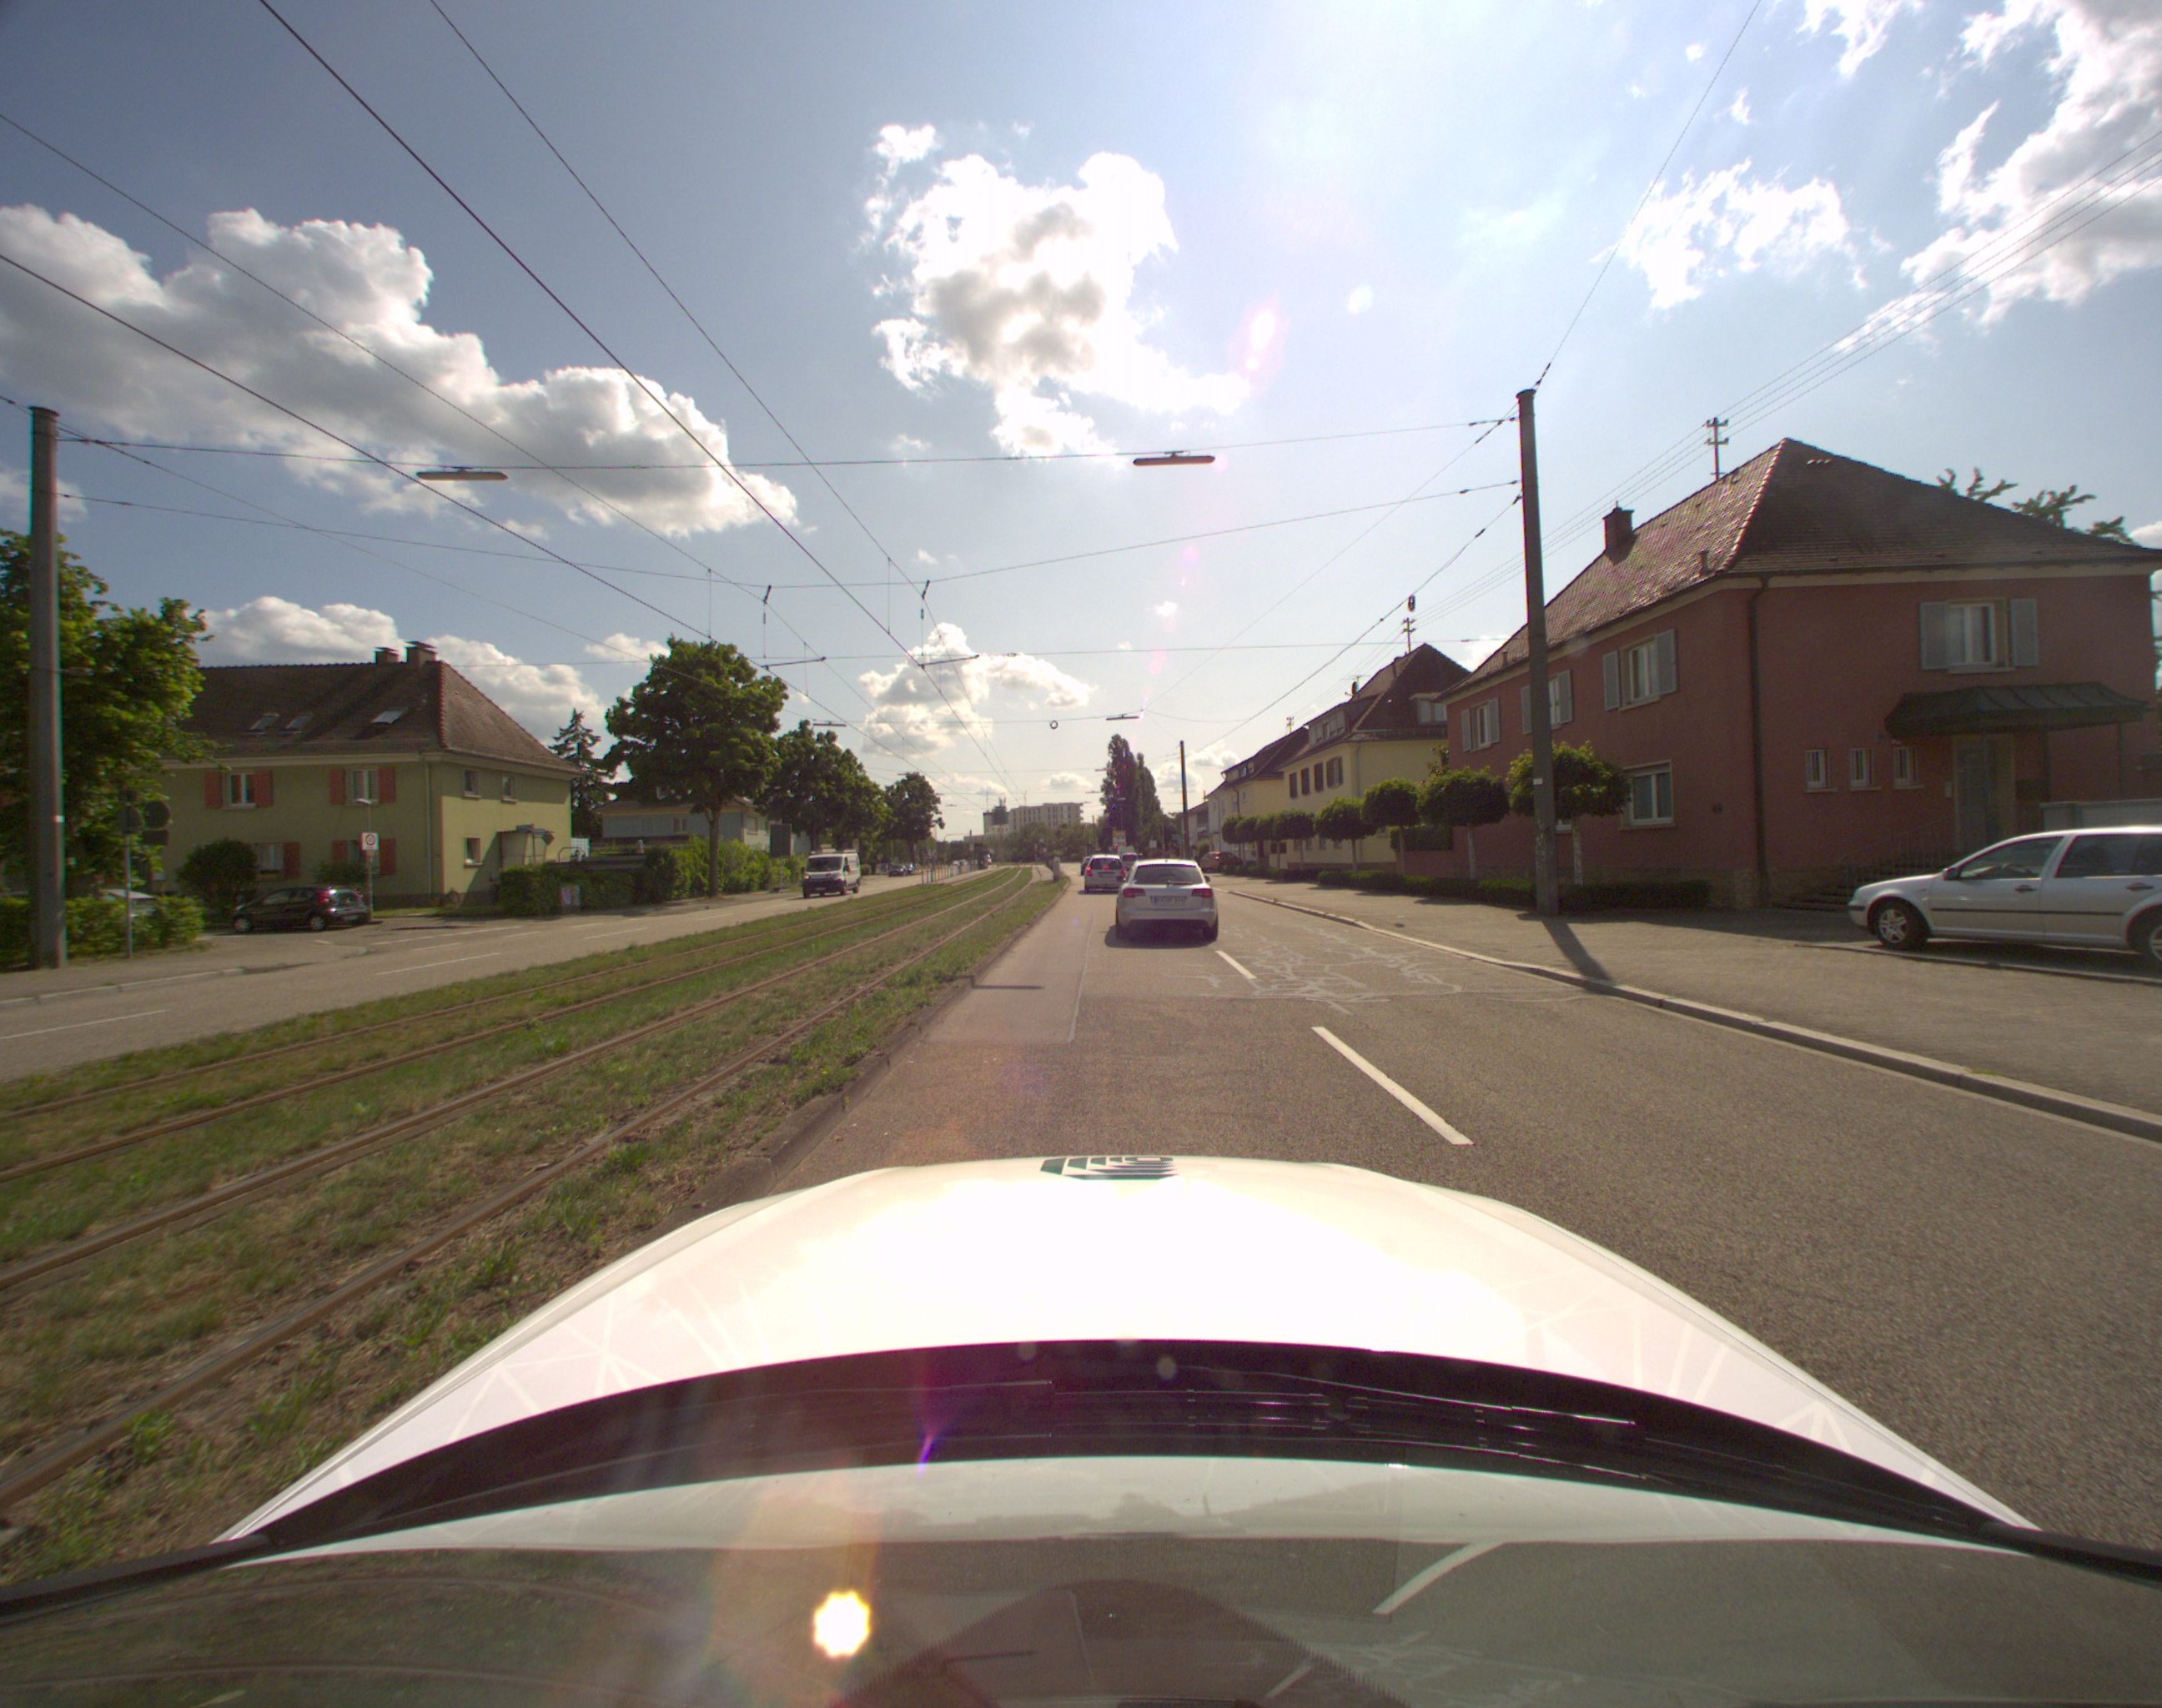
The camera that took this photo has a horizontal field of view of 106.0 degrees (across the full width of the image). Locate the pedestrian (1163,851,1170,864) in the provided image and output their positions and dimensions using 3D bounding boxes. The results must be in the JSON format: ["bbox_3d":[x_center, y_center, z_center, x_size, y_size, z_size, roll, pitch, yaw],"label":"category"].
[{"bbox_3d":[11.508,0.476,109.684,0.719,1.782,0.702,-4,0,-1],"label":"pedestrian"}]

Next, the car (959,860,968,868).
[{"bbox_3d":[-25.385,2.148,175.962,1.861,1.651,3.989,0,-1,-7],"label":"car"}]

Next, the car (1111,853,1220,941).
[{"bbox_3d":[1.600,0.747,16.241,1.846,1.492,4.540,-1,0,4],"label":"car"}]

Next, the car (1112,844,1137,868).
[{"bbox_3d":[4.809,0.243,90.777,2.037,2.557,5.224,-1,0,-4],"label":"car"}]

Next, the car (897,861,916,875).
[{"bbox_3d":[-21.612,1.755,100.984,2.060,1.614,4.738,-2,0,-9],"label":"car"}]

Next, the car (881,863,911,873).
[{"bbox_3d":[-32.531,2.492,143.085,4.848,1.660,1.999,0,-1,-1],"label":"car"}]

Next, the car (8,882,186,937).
[{"bbox_3d":[-32.502,1.812,26.976,3.729,1.574,1.727,-2,0,0],"label":"car"}]

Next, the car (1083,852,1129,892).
[{"bbox_3d":[1.000,0.734,34.560,1.781,1.577,4.093,1,0,0],"label":"car"}]

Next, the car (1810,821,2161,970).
[{"bbox_3d":[10.948,0.377,9.053,1.645,1.409,4.346,-2,-1,-2],"label":"car"}]

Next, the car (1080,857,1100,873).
[{"bbox_3d":[0.891,1.077,80.118,1.879,1.530,4.093,0,-1,0],"label":"car"}]

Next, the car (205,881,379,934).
[{"bbox_3d":[-25.892,1.727,26.839,3.732,1.468,1.892,-2,0,-2],"label":"car"}]

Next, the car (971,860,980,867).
[{"bbox_3d":[-22.404,2.056,172.572,1.895,1.541,3.720,0,-1,-7],"label":"car"}]

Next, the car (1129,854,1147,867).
[{"bbox_3d":[7.730,0.901,111.191,1.881,1.637,4.088,0,-1,-4],"label":"car"}]

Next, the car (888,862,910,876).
[{"bbox_3d":[-21.161,1.731,94.774,1.781,1.584,3.928,-1,0,-2],"label":"car"}]

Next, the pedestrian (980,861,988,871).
[{"bbox_3d":[-13.273,1.630,111.180,1.056,1.376,0.859,0,-1,-4],"label":"pedestrian"}]

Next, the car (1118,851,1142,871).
[{"bbox_3d":[4.415,0.606,73.197,1.875,1.731,4.101,-2,0,6],"label":"car"}]

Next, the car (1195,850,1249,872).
[{"bbox_3d":[10.730,0.504,61.767,4.117,1.458,1.892,-3,2,-44],"label":"car"}]

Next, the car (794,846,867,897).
[{"bbox_3d":[-12.913,0.878,42.321,2.191,2.372,5.328,-3,-1,-2],"label":"car"}]
